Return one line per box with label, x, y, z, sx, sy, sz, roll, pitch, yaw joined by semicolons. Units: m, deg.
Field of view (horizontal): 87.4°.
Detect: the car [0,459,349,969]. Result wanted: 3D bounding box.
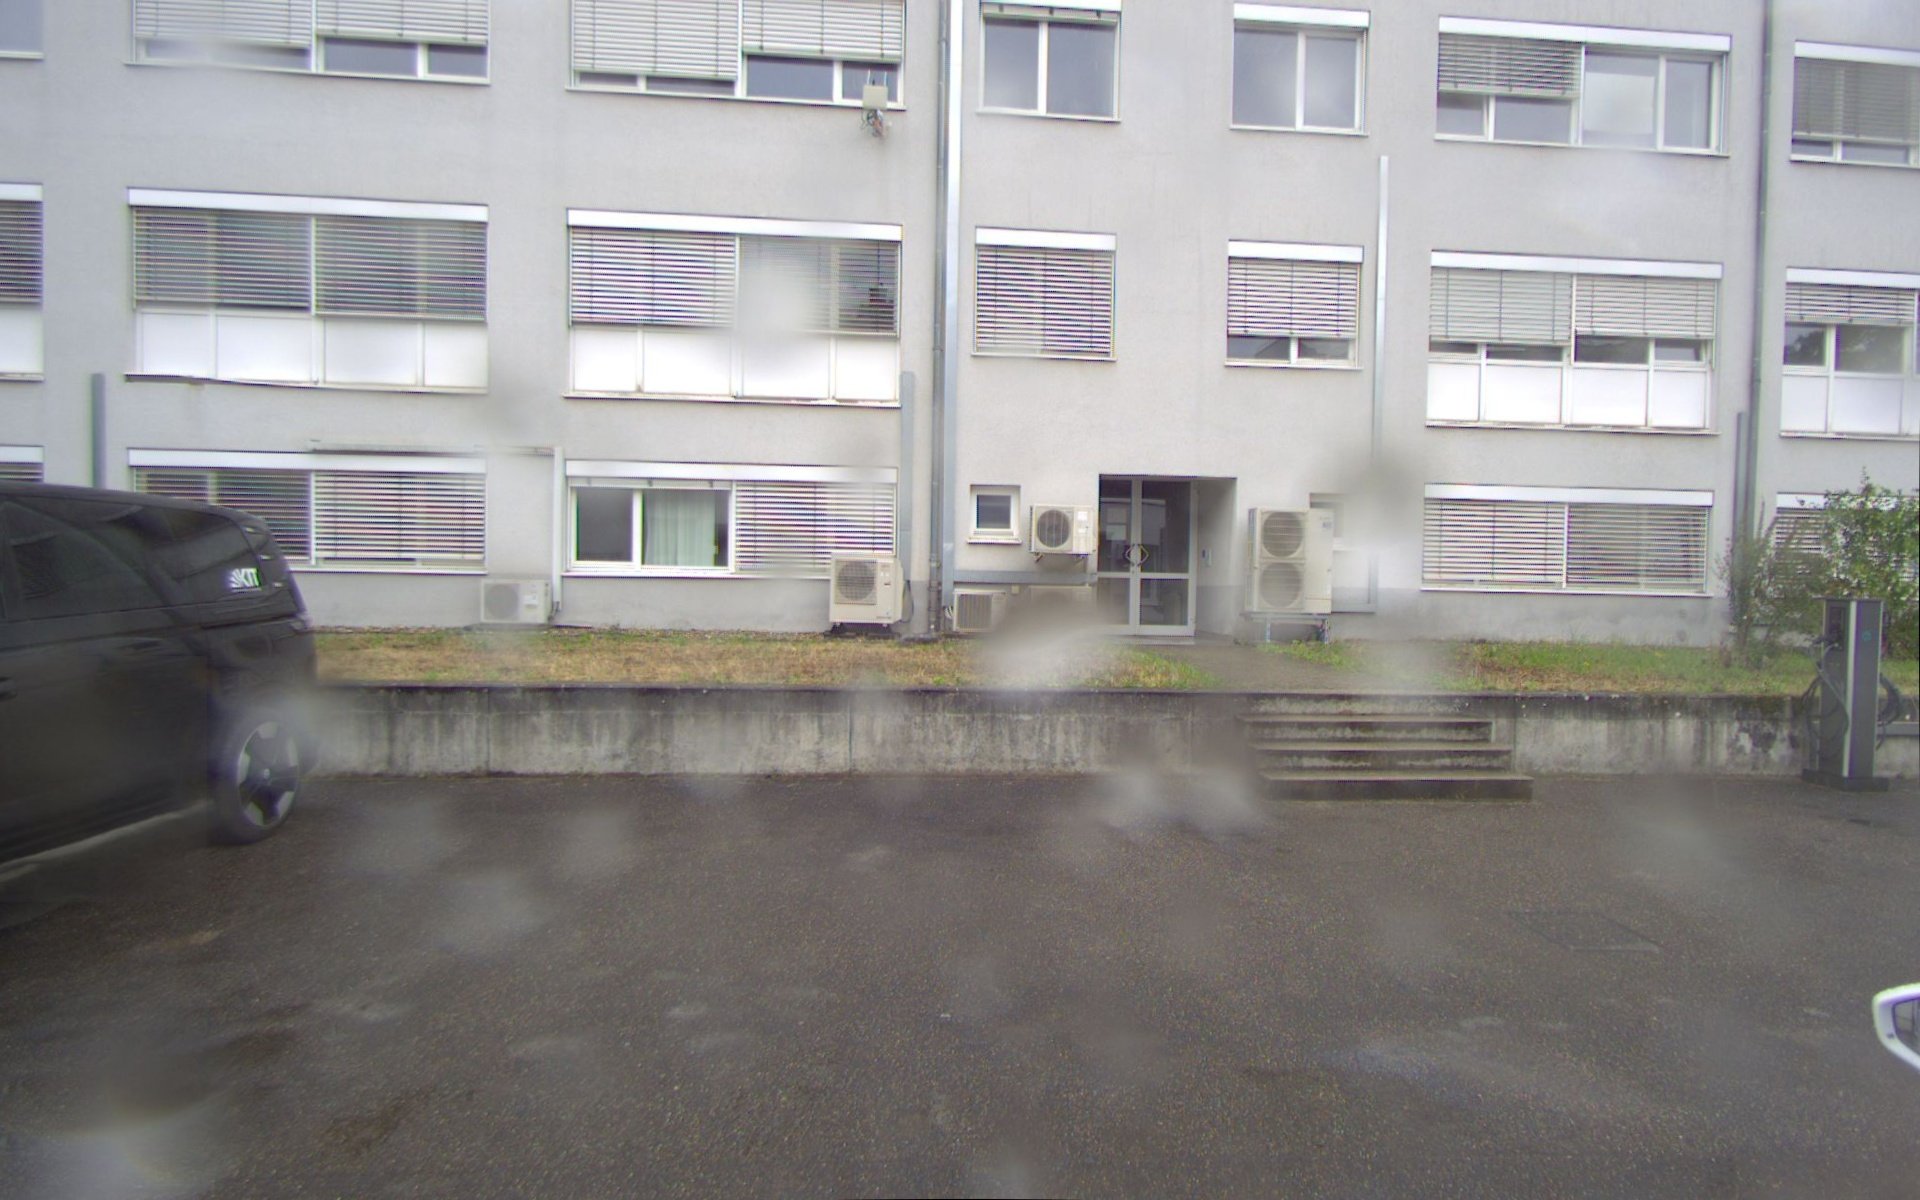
car;-4.643;0.419;4.002;2.008;1.923;4.517;0;1;-6
